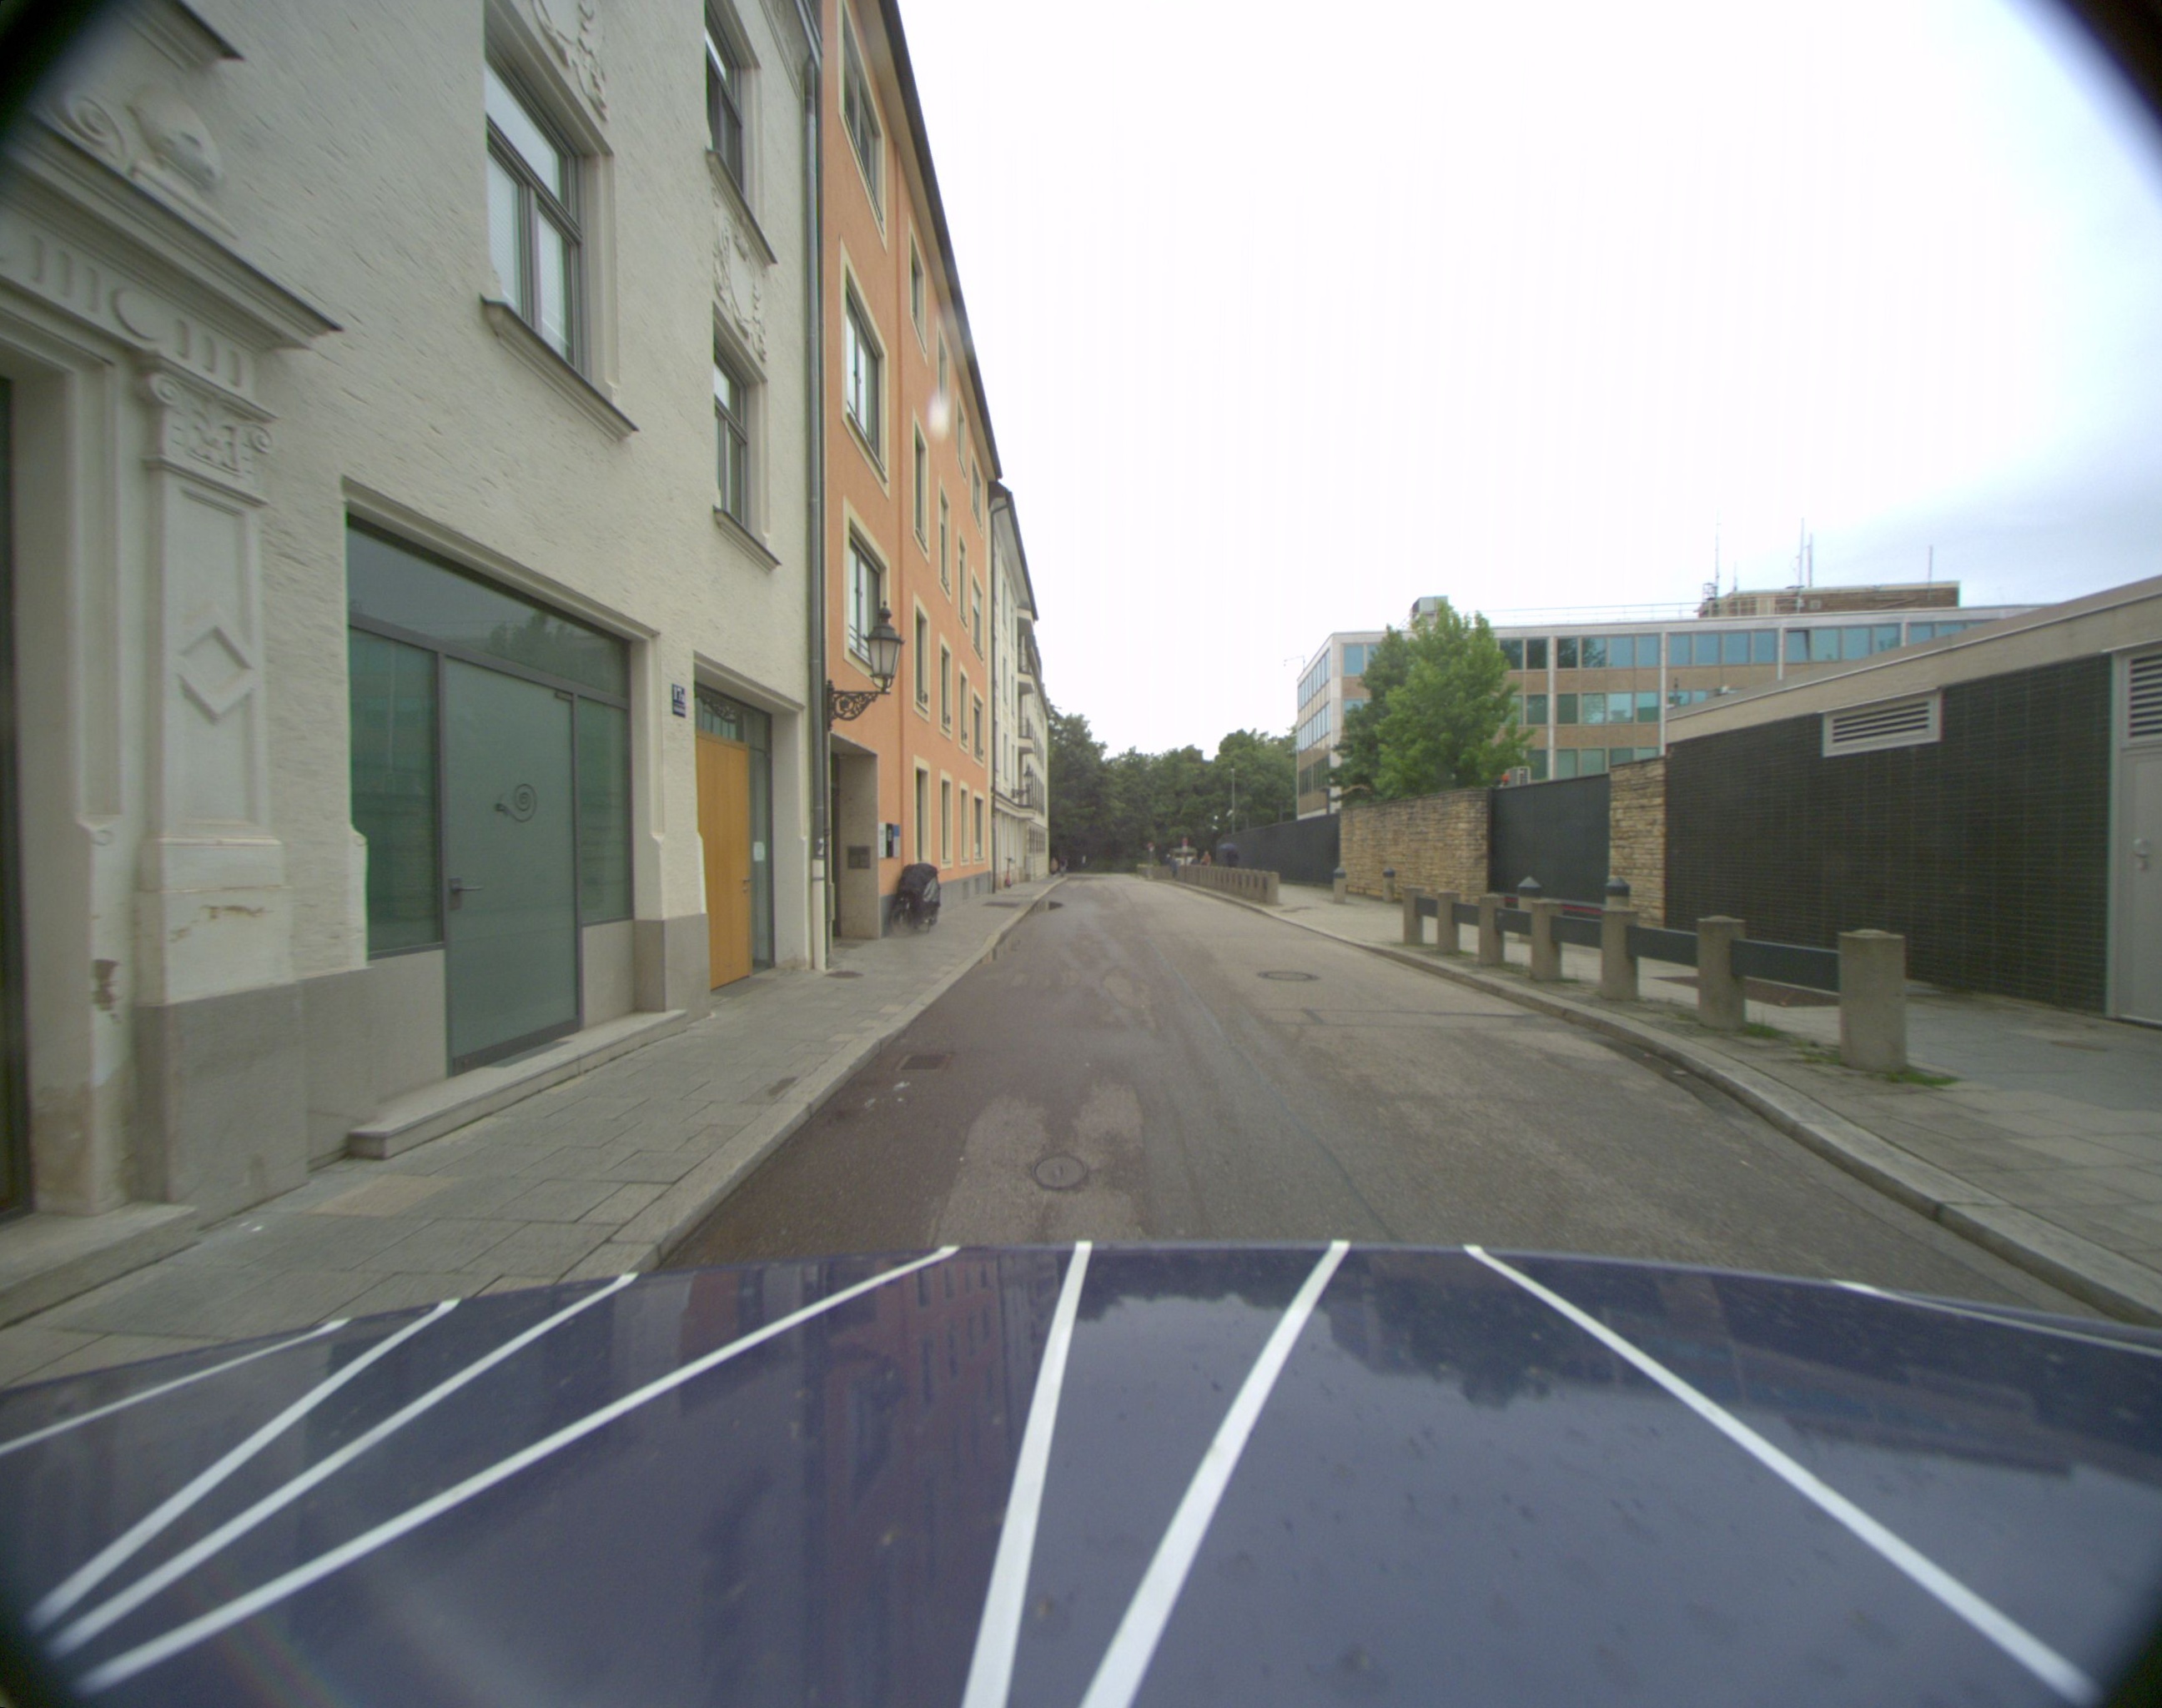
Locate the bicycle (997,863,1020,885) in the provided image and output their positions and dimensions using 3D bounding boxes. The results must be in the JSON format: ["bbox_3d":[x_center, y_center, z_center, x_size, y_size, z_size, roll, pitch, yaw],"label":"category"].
[{"bbox_3d":[-3.368,0.919,35.455,0.464,0.988,2.081,1,-1,11],"label":"bicycle"}]

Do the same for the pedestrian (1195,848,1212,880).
[{"bbox_3d":[6.897,0.567,42.705,0.826,1.713,0.906,-2,0,6],"label":"pedestrian"}]

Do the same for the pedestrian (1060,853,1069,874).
[{"bbox_3d":[-1.346,0.784,63.663,0.753,1.725,0.853,0,0,-1],"label":"pedestrian"}]

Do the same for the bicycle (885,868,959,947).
[{"bbox_3d":[-2.839,0.918,13.848,0.681,1.233,2.382,4,0,2],"label":"bicycle"}]

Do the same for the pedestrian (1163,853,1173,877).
[{"bbox_3d":[6.268,0.804,54.920,0.625,1.758,0.766,0,0,0],"label":"pedestrian"}]

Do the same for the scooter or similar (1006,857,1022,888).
[{"bbox_3d":[-2.866,0.769,32.518,0.466,1.251,1.275,2,1,-13],"label":"scooter or similar"}]

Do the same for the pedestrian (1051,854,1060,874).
[{"bbox_3d":[-2.152,0.836,63.377,0.753,1.671,0.656,0,0,-1],"label":"pedestrian"}]

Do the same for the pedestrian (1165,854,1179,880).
[{"bbox_3d":[5.158,0.731,43.097,0.640,1.458,1.079,-2,0,1],"label":"pedestrian"}]

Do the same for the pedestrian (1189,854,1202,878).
[{"bbox_3d":[7.385,0.763,48.877,0.778,1.531,0.933,-2,0,8],"label":"pedestrian"}]

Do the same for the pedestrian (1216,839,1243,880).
[{"bbox_3d":[7.718,0.292,39.496,1.226,2.091,1.117,0,0,3],"label":"pedestrian"}]
